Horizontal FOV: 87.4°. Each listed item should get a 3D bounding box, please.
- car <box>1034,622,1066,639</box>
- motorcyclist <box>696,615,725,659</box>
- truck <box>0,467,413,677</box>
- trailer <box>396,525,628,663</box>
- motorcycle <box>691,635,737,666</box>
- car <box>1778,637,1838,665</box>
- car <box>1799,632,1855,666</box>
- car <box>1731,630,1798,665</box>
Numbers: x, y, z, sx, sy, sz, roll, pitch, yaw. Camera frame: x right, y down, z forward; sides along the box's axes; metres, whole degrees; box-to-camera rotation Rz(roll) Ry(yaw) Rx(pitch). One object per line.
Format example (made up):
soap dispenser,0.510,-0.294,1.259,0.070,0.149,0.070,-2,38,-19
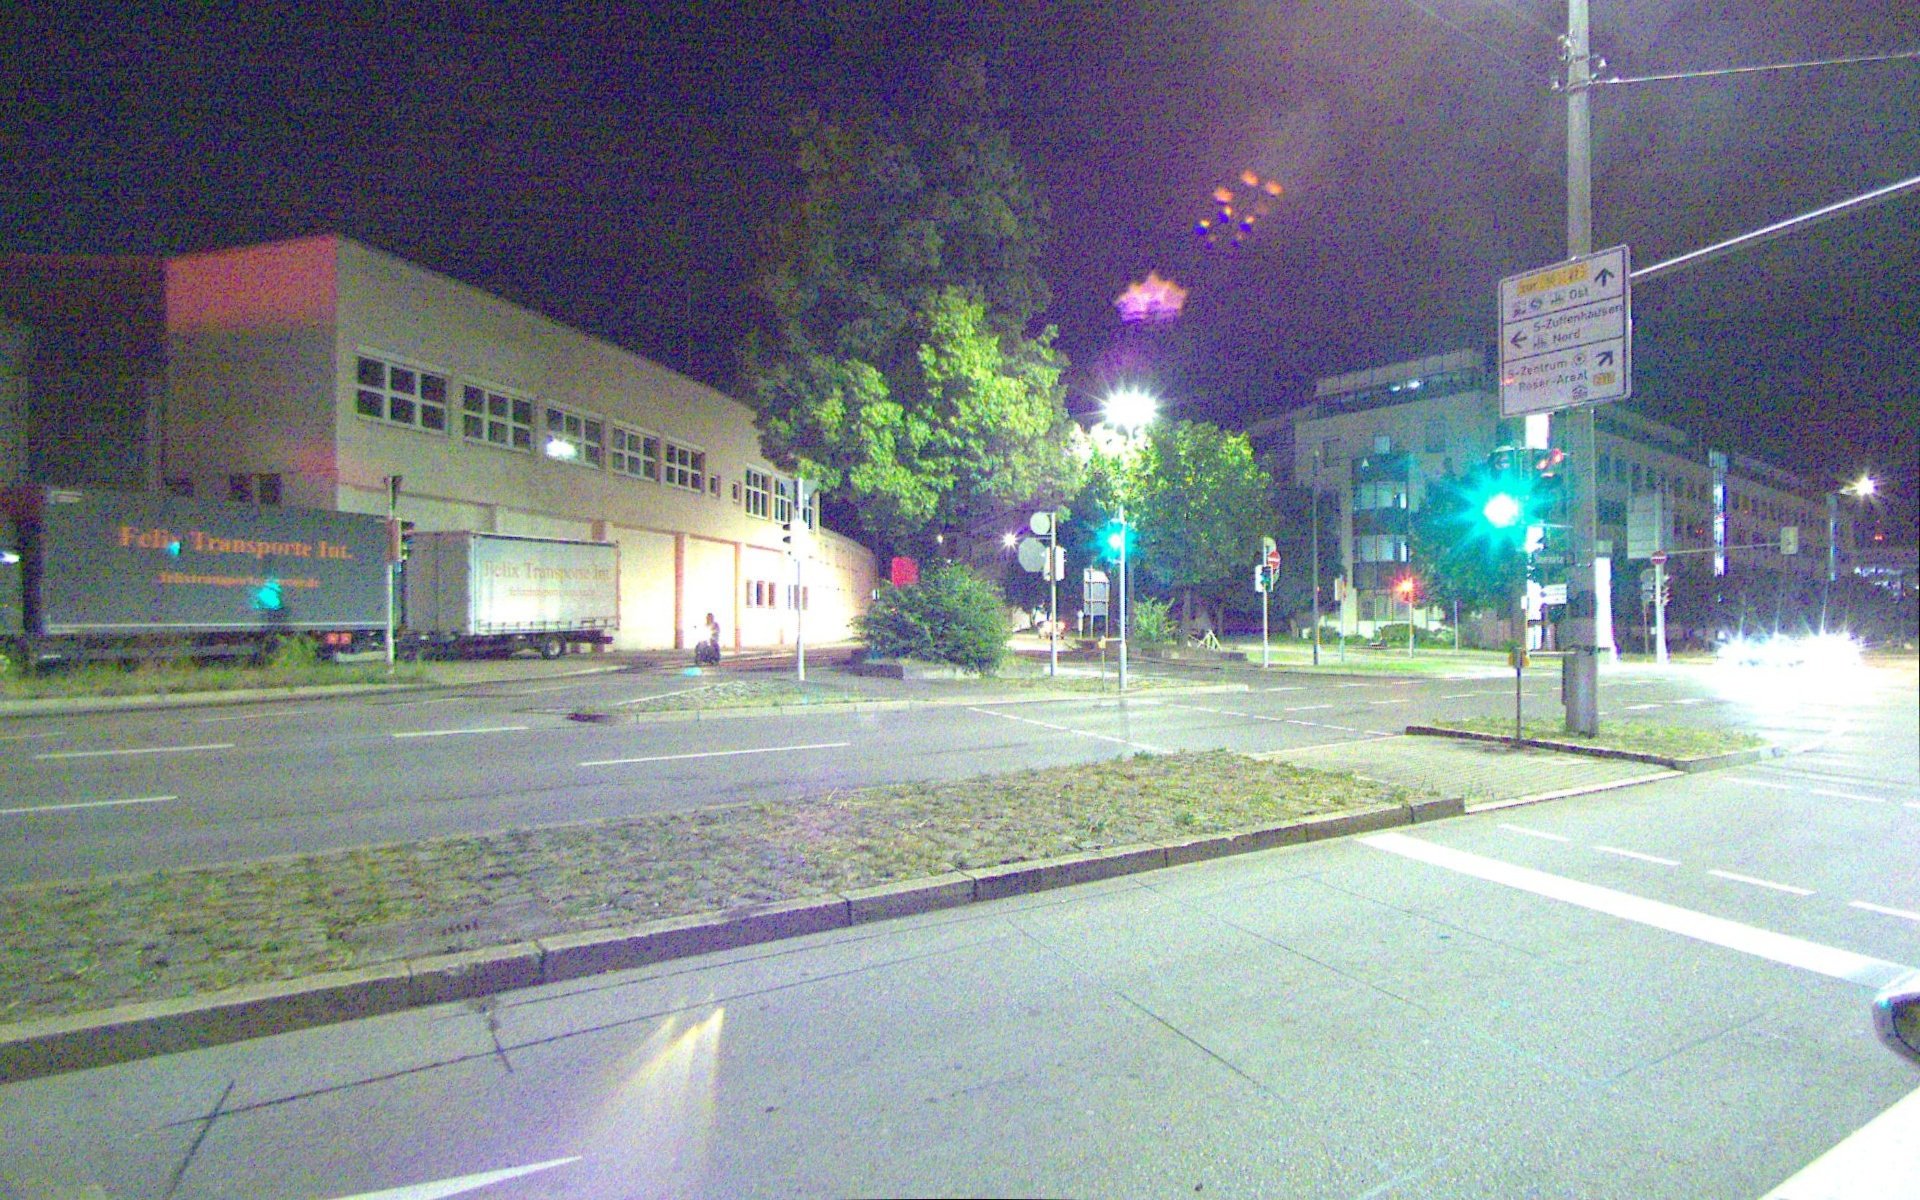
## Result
car,8.093,2.759,90.982,1.680,1.511,3.989,2,-2,-14
motorcyclist,-7.510,1.106,30.224,0.635,1.278,0.579,1,-1,9
truck,-17.485,-0.411,22.216,2.892,3.846,9.552,1,-2,25
trailer,-13.685,-0.070,31.332,2.571,3.840,6.512,1,-2,23
motorcycle,-7.415,1.519,30.377,0.568,0.907,2.157,-1,-2,9
car,42.978,2.580,50.884,3.518,1.339,1.743,3,-2,-39
car,47.014,2.645,54.432,3.518,1.750,1.743,3,-2,-39
car,37.226,2.182,46.463,3.966,1.535,1.603,3,-2,-39
